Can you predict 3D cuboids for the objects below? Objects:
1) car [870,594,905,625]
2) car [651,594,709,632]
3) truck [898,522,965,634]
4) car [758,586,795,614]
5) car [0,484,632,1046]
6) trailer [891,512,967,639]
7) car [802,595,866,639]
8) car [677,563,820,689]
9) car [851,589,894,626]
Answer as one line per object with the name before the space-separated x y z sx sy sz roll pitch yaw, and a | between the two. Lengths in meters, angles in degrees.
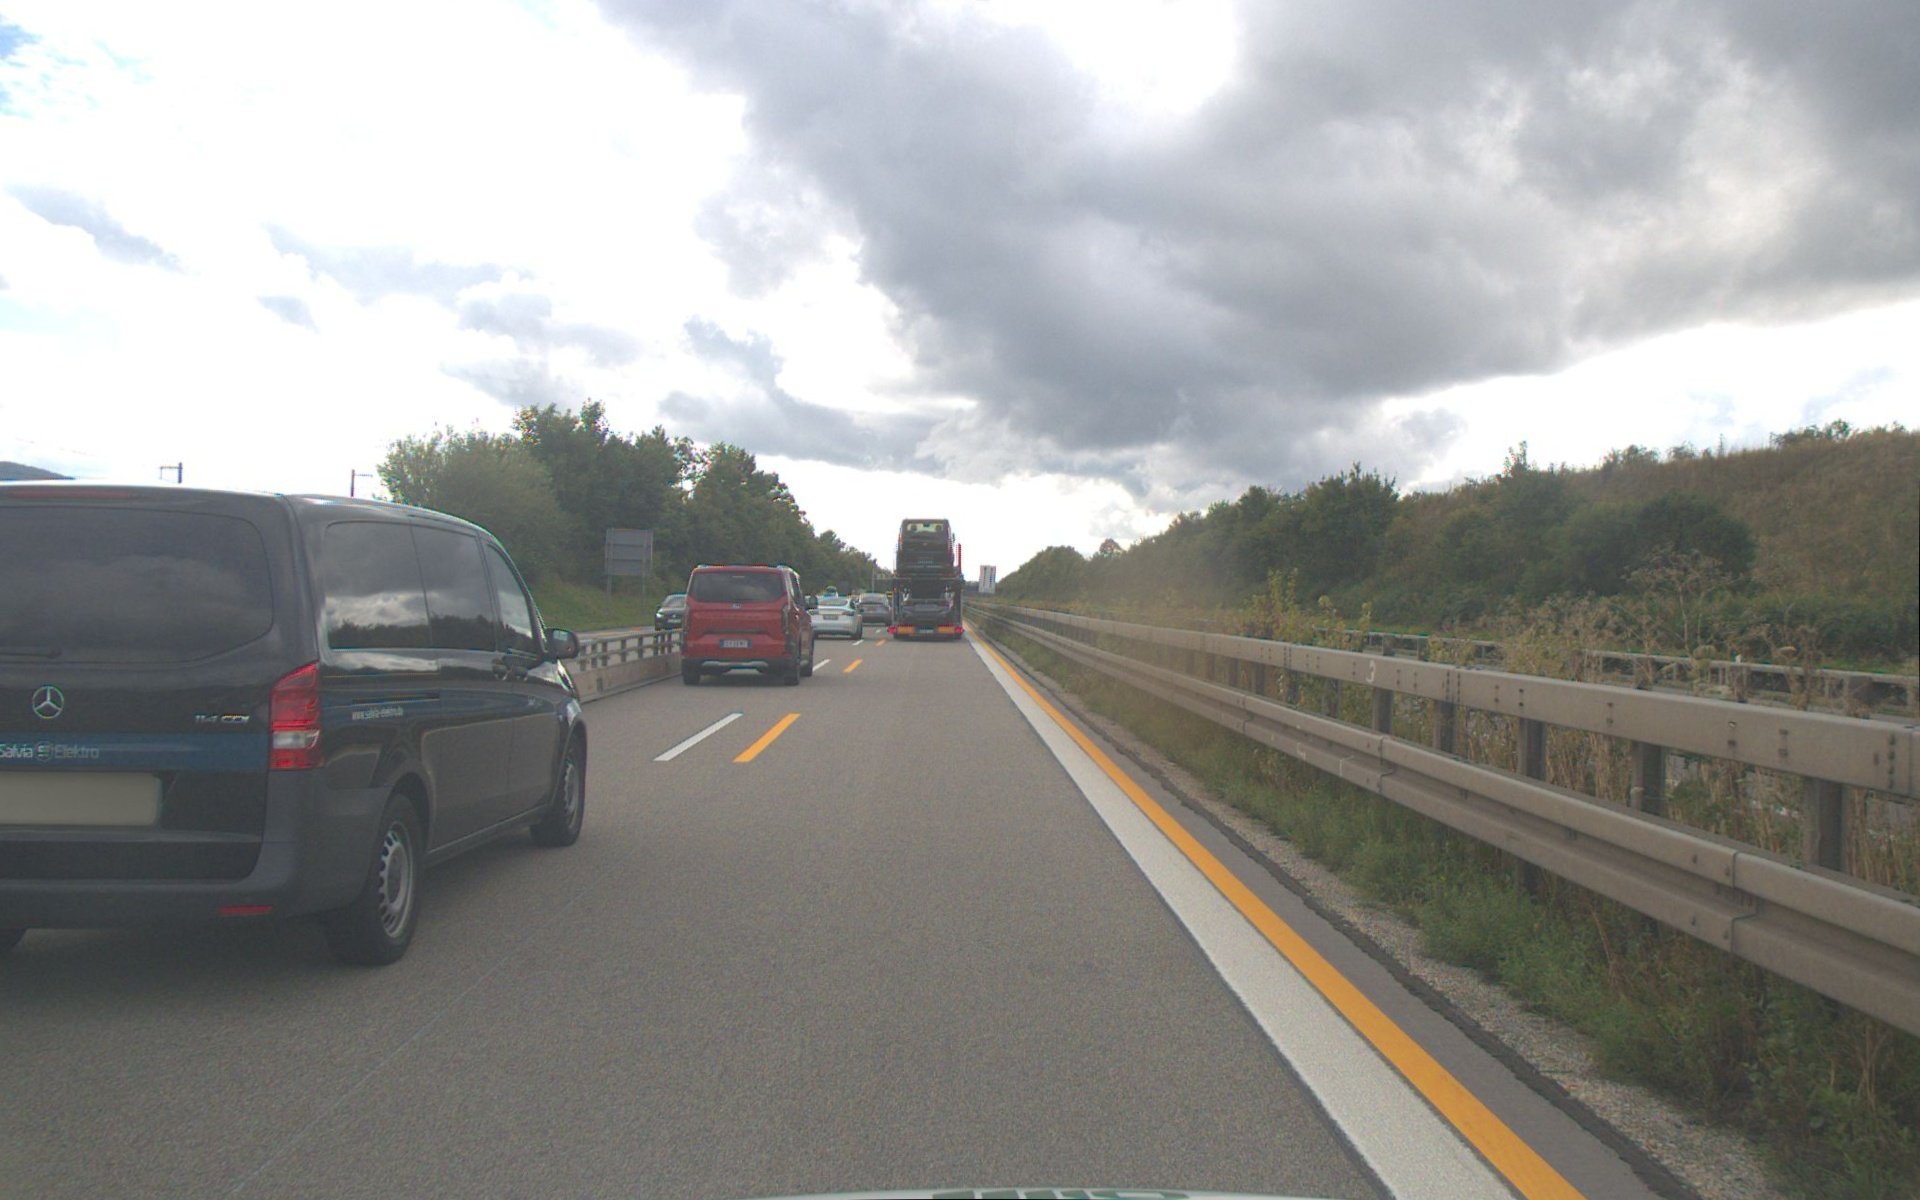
car | -4.208 0.539 96.441 1.990 1.788 4.576 0 0 -2
car | -10.910 0.469 64.689 1.722 1.412 3.998 1 0 -3
truck | -1.072 -0.808 64.877 2.464 4.177 5.684 1 0 0
car | -12.101 -0.022 109.306 1.953 1.823 4.932 1 0 -2
car | -3.149 0.547 8.320 1.953 1.875 5.608 0 0 -1
trailer | -1.051 -0.814 60.089 2.464 4.177 11.112 1 0 0
car | -4.370 0.573 57.771 1.990 1.456 4.576 0 0 -2
car | -3.631 0.422 29.152 1.990 2.049 4.577 0 0 -1
car | -4.376 0.357 83.237 1.990 1.788 4.576 0 0 -2
